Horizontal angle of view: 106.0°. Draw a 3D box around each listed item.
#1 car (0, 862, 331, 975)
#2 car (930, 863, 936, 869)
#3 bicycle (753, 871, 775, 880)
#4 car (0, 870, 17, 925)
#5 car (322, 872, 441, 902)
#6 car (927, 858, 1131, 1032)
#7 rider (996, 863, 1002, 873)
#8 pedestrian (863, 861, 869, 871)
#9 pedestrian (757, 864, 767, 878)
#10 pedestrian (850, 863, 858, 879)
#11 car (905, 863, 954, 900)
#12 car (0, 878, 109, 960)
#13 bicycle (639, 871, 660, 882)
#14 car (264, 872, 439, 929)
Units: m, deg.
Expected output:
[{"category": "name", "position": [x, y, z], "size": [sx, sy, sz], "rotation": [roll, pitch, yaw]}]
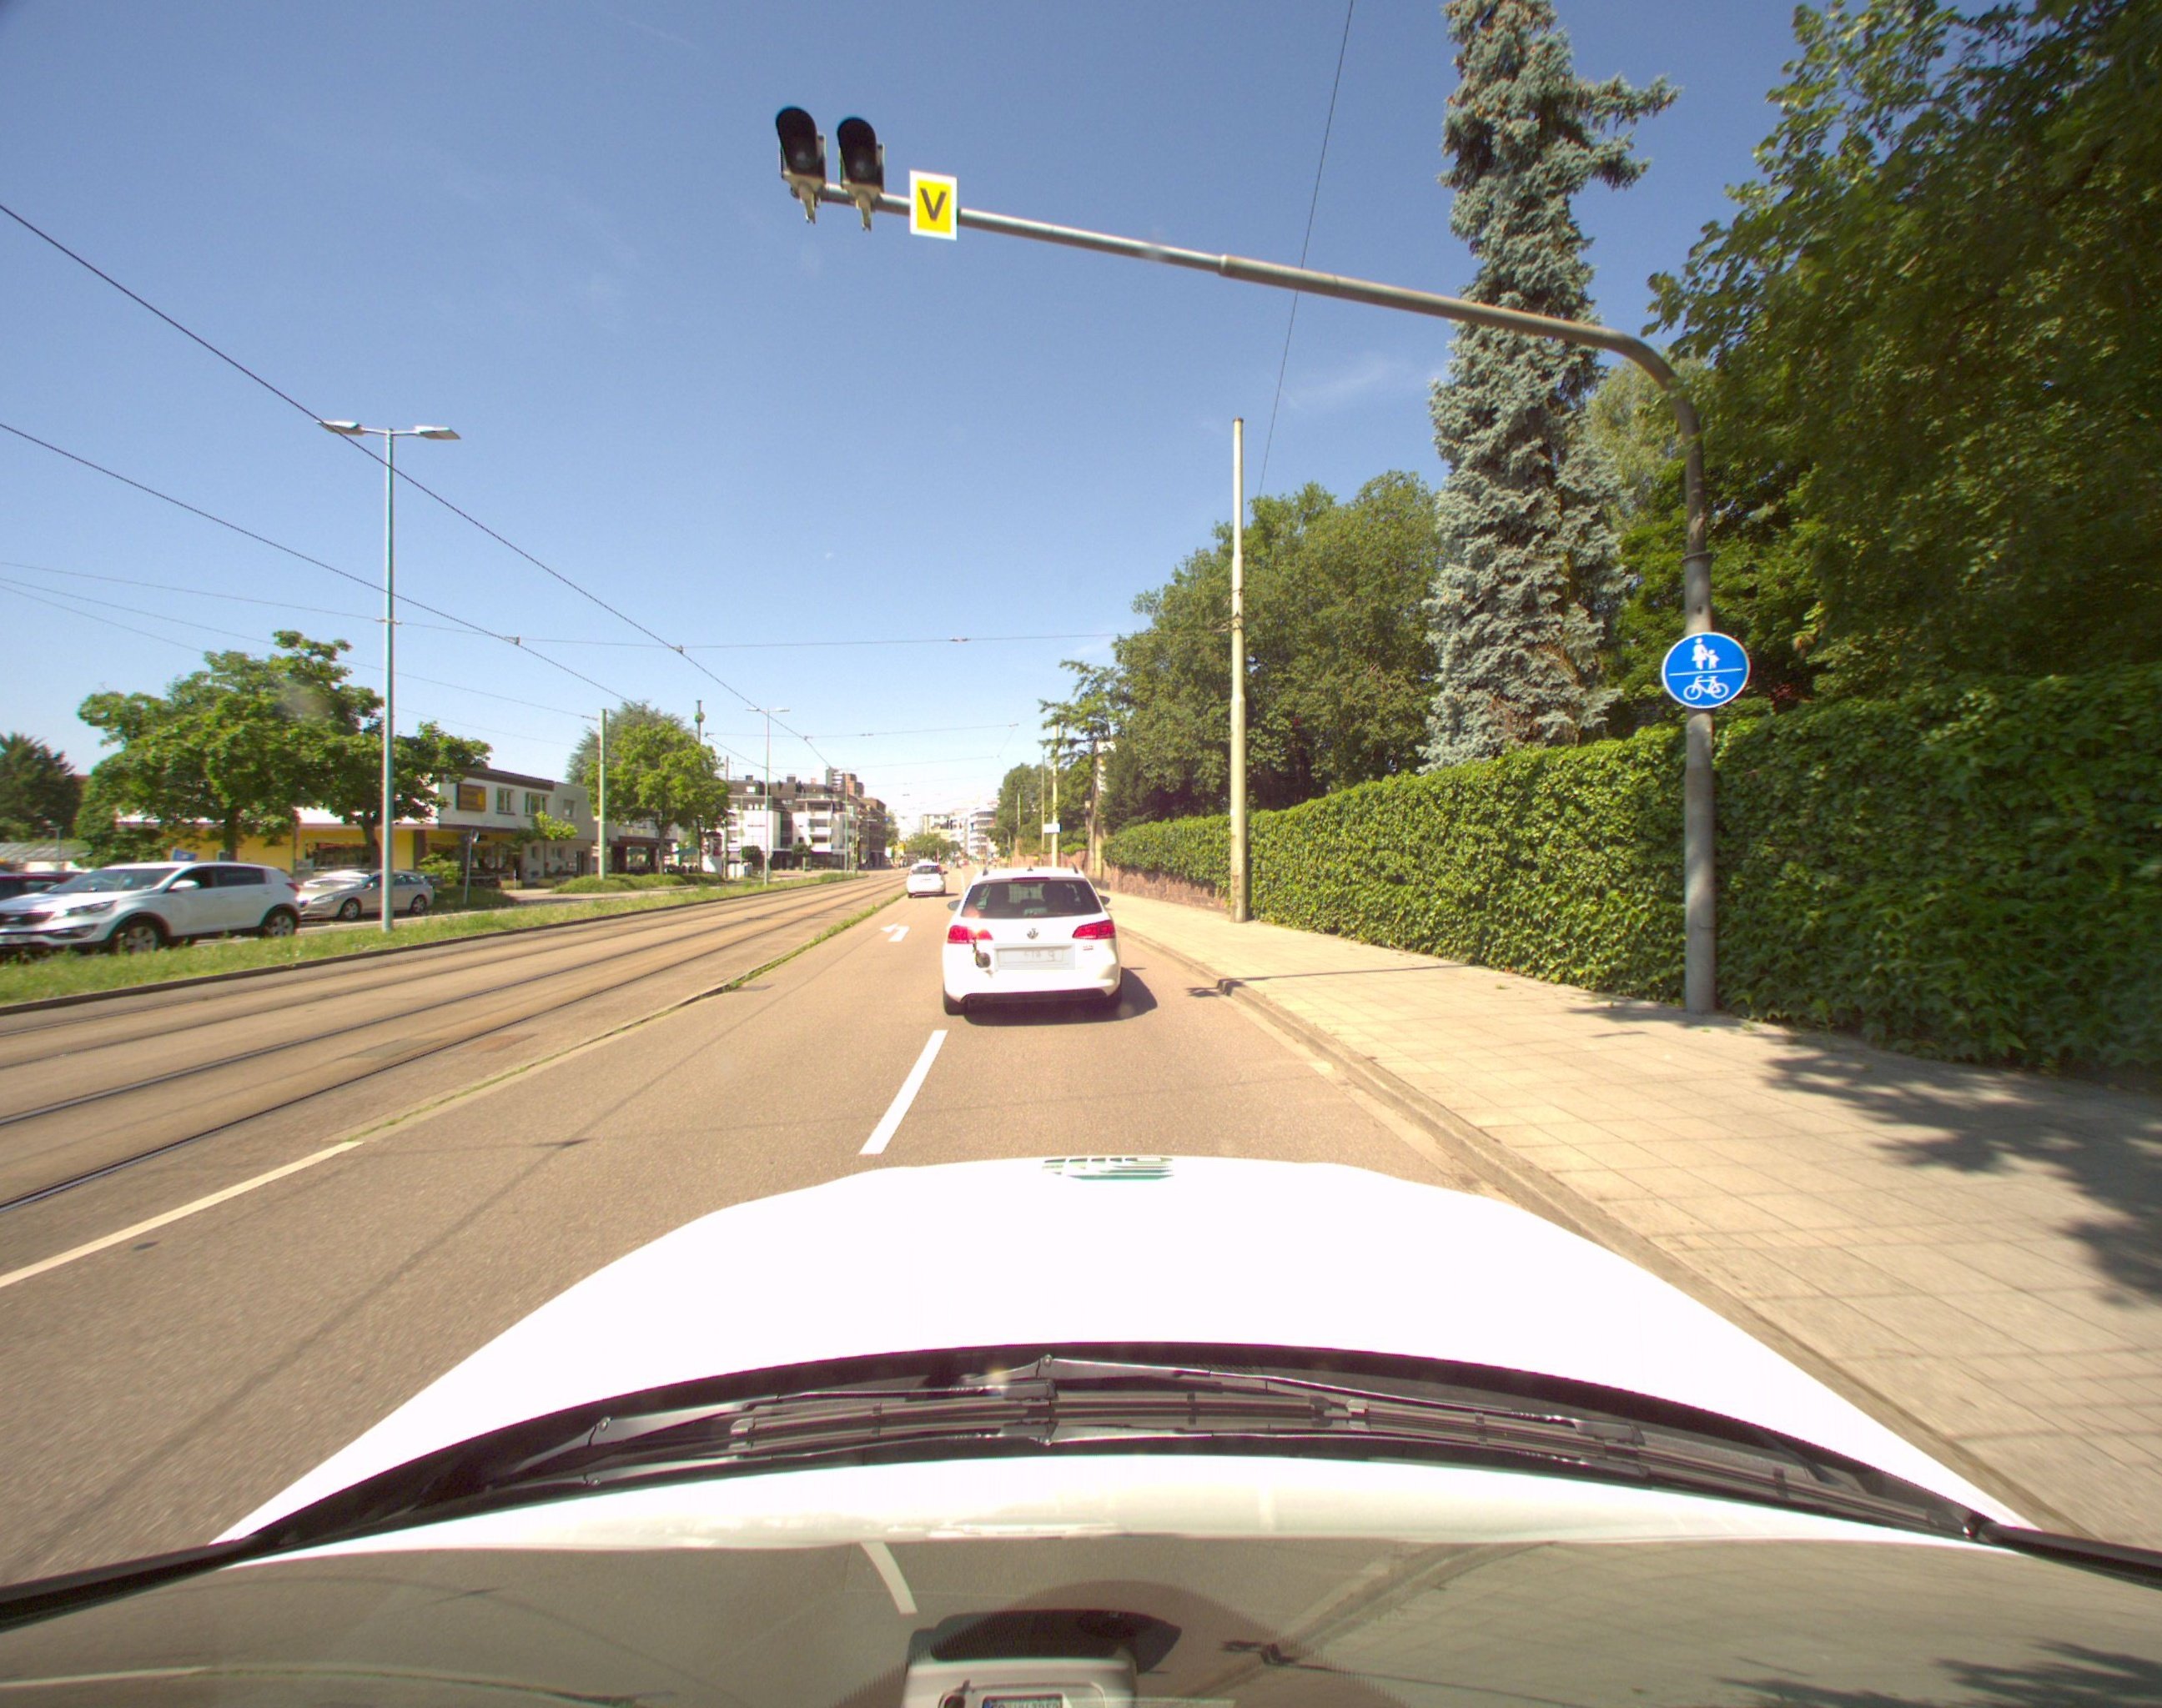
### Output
[{"category": "car", "position": [-16.076, 0.976, 14.173], "size": [2.041, 1.597, 4.649], "rotation": [-2, 0, -6]}, {"category": "car", "position": [-43.726, 3.582, 240.878], "size": [1.698, 1.591, 3.523], "rotation": [-1, -1, -9]}, {"category": "bicycle", "position": [-34.155, 2.270, 87.767], "size": [0.546, 0.921, 2.191], "rotation": [-2, -1, 35]}, {"category": "car", "position": [-32.487, 1.266, 22.285], "size": [3.988, 1.563, 1.657], "rotation": [-1, -1, -11]}, {"category": "car", "position": [-34.171, 1.604, 39.892], "size": [4.144, 1.345, 1.693], "rotation": [-1, -1, -8]}, {"category": "car", "position": [-0.557, 0.811, 9.100], "size": [1.775, 1.490, 3.842], "rotation": [-1, -1, -3]}, {"category": "rider", "position": [-14.074, 2.344, 139.773], "size": [0.890, 1.728, 2.197], "rotation": [-1, -1, -8]}, {"category": "pedestrian", "position": [-41.000, 2.311, 155.397], "size": [0.938, 2.014, 0.986], "rotation": [-1, -1, -14]}, {"category": "pedestrian", "position": [-34.550, 1.819, 88.206], "size": [0.559, 1.487, 0.821], "rotation": [-1, -1, 35]}, {"category": "pedestrian", "position": [-25.194, 1.907, 90.529], "size": [0.828, 1.739, 0.927], "rotation": [-1, -1, -16]}, {"category": "car", "position": [-7.033, 1.259, 38.104], "size": [1.726, 1.596, 4.006], "rotation": [-1, 0, -3]}, {"category": "car", "position": [-20.781, 1.235, 15.207], "size": [1.292, 1.490, 3.664], "rotation": [-1, -1, -10]}, {"category": "bicycle", "position": [-36.911, 1.892, 69.711], "size": [0.782, 0.888, 2.384], "rotation": [-1, -1, -8]}, {"category": "car", "position": [-22.257, 1.363, 25.135], "size": [1.602, 1.490, 4.606], "rotation": [1, -1, -7]}]
